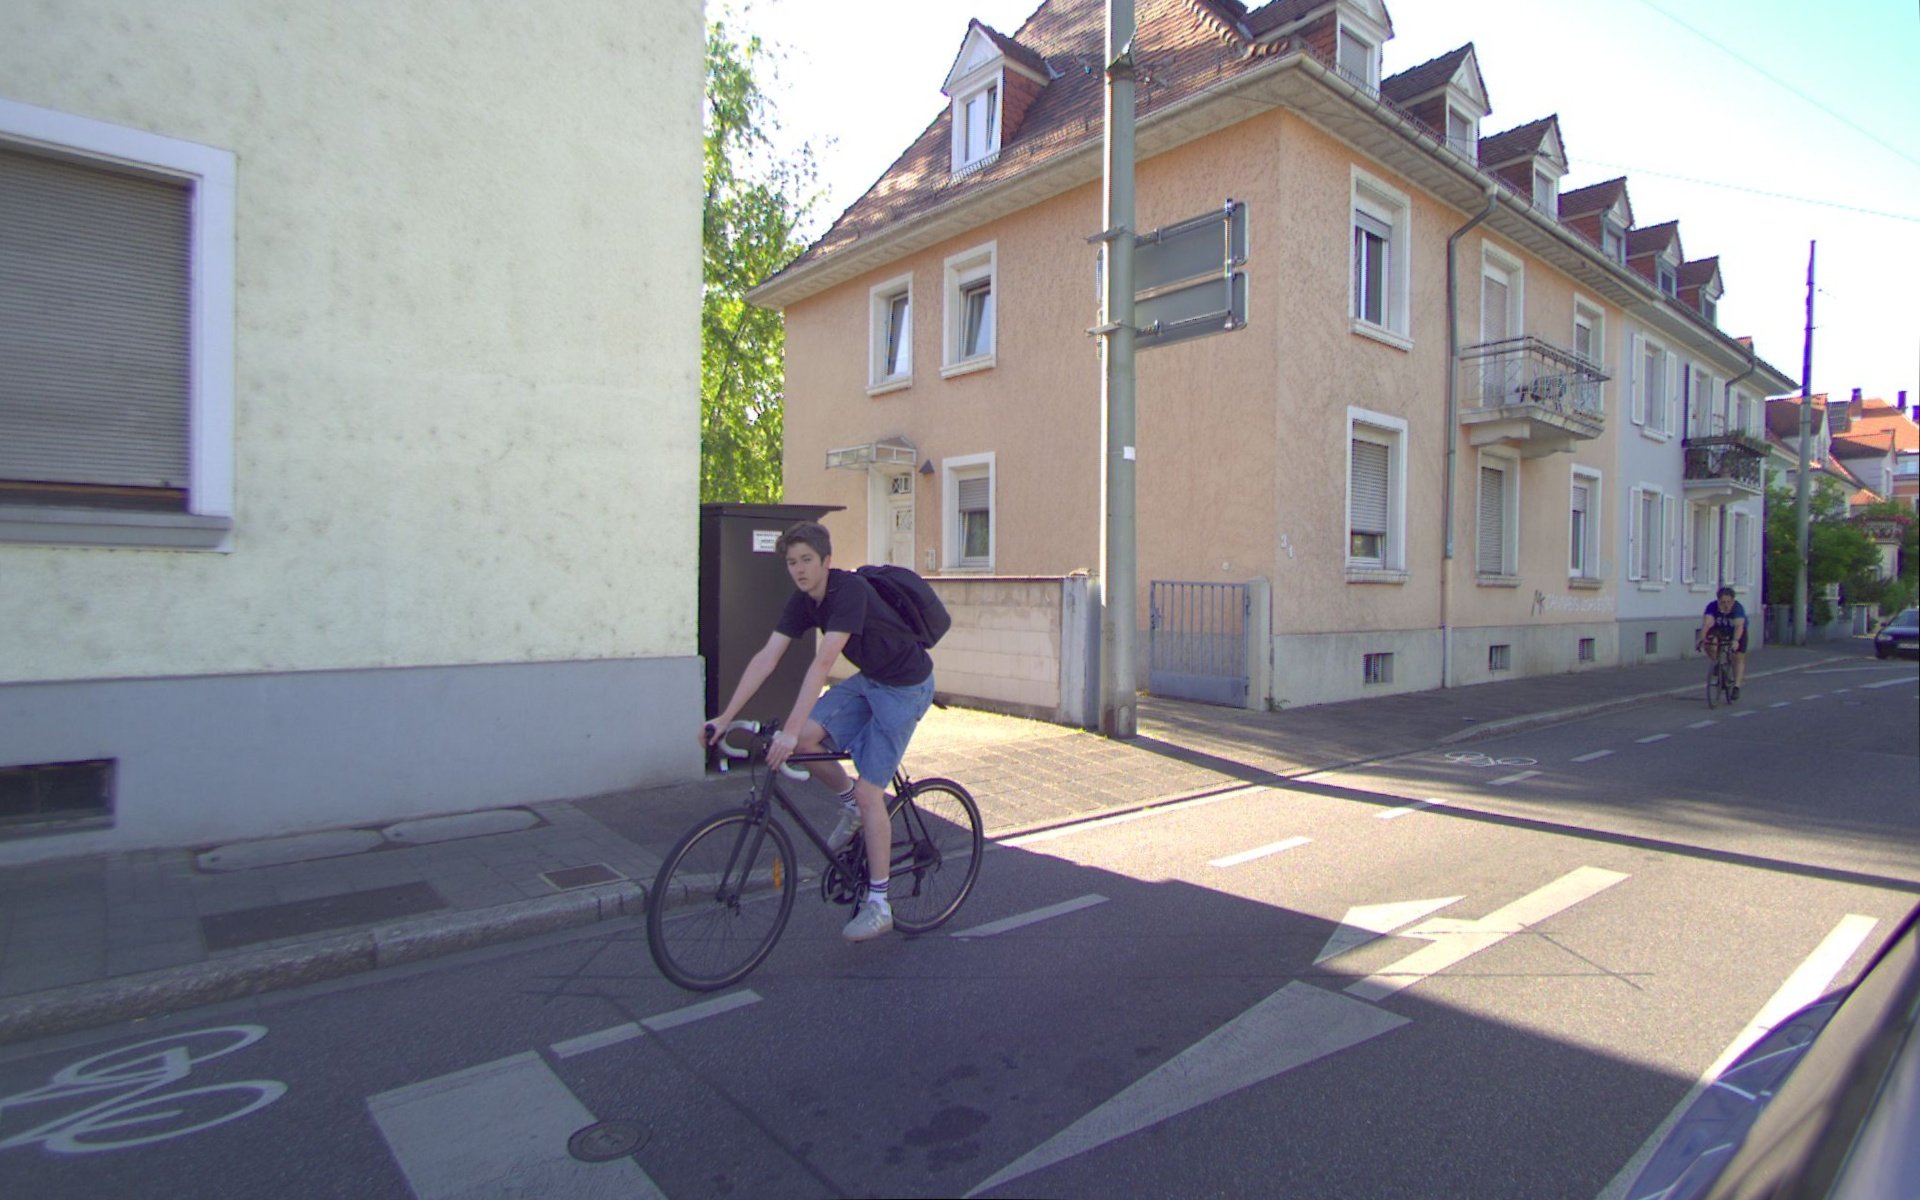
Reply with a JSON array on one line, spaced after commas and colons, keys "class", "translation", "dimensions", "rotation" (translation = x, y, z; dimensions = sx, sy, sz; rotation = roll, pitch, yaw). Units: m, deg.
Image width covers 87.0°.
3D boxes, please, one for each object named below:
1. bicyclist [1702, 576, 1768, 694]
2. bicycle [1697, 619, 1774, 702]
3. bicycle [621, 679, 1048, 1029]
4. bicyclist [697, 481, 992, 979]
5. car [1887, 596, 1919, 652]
[{"class": "bicyclist", "translation": [11.176, 0.481, 14.584], "dimensions": [0.999, 1.637, 0.561], "rotation": [0, 1, -42]}, {"class": "bicycle", "translation": [11.187, 0.835, 14.584], "dimensions": [1.764, 1.076, 0.550], "rotation": [-1, 1, -42]}, {"class": "bicycle", "translation": [-0.439, 0.908, 4.147], "dimensions": [1.727, 1.029, 0.533], "rotation": [0, 1, -41]}, {"class": "bicyclist", "translation": [-0.453, 0.450, 4.127], "dimensions": [1.065, 1.752, 0.560], "rotation": [0, 0, -41]}, {"class": "car", "translation": [26.713, 0.629, 27.408], "dimensions": [4.347, 1.425, 1.866], "rotation": [0, 1, -41]}]
